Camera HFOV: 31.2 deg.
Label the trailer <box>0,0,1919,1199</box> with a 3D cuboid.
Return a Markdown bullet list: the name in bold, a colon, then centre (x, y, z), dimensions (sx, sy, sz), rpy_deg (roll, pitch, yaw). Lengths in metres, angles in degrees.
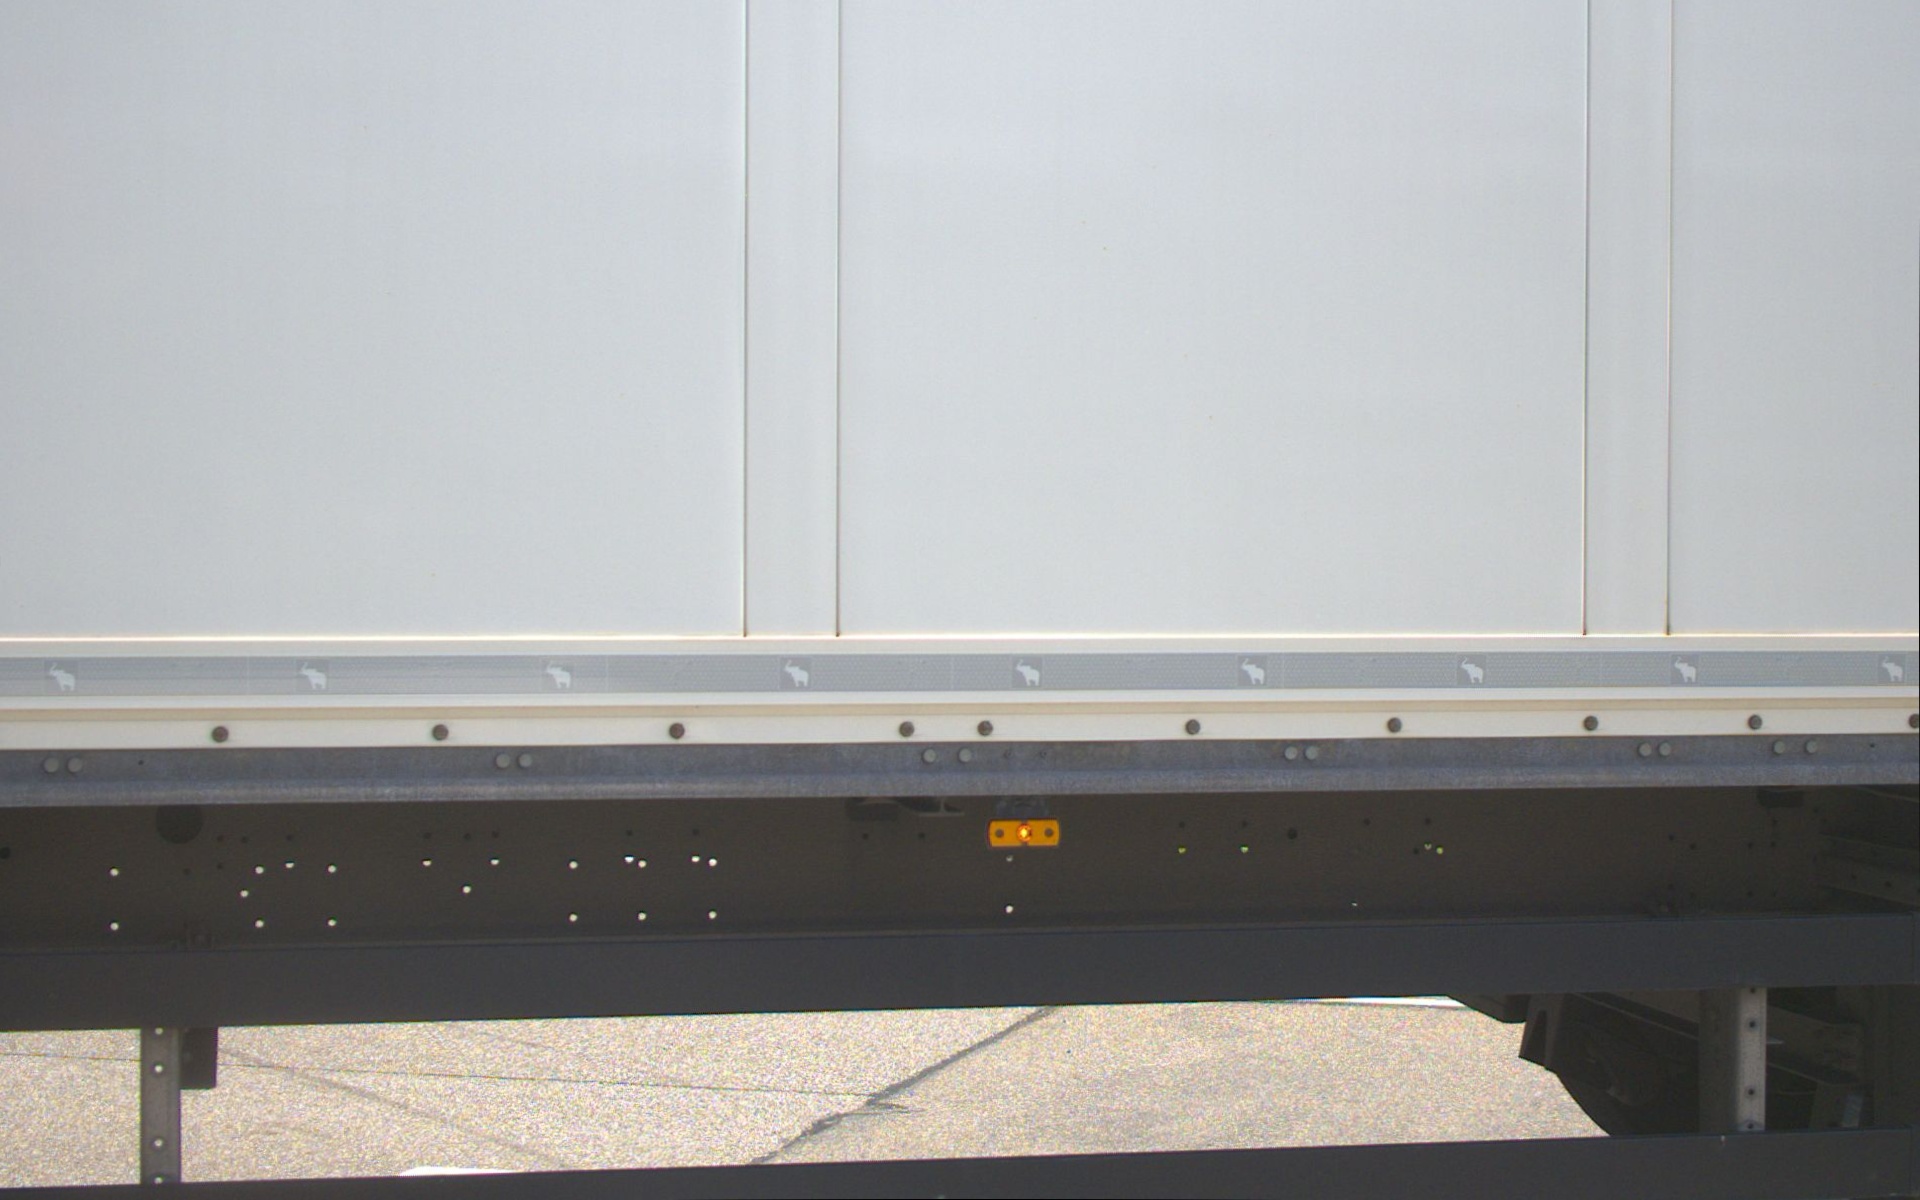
- **trailer**: centre (0.731, -0.714, 6.154), dimensions (13.931, 4.151, 2.897), rpy_deg (0, 1, -11)
